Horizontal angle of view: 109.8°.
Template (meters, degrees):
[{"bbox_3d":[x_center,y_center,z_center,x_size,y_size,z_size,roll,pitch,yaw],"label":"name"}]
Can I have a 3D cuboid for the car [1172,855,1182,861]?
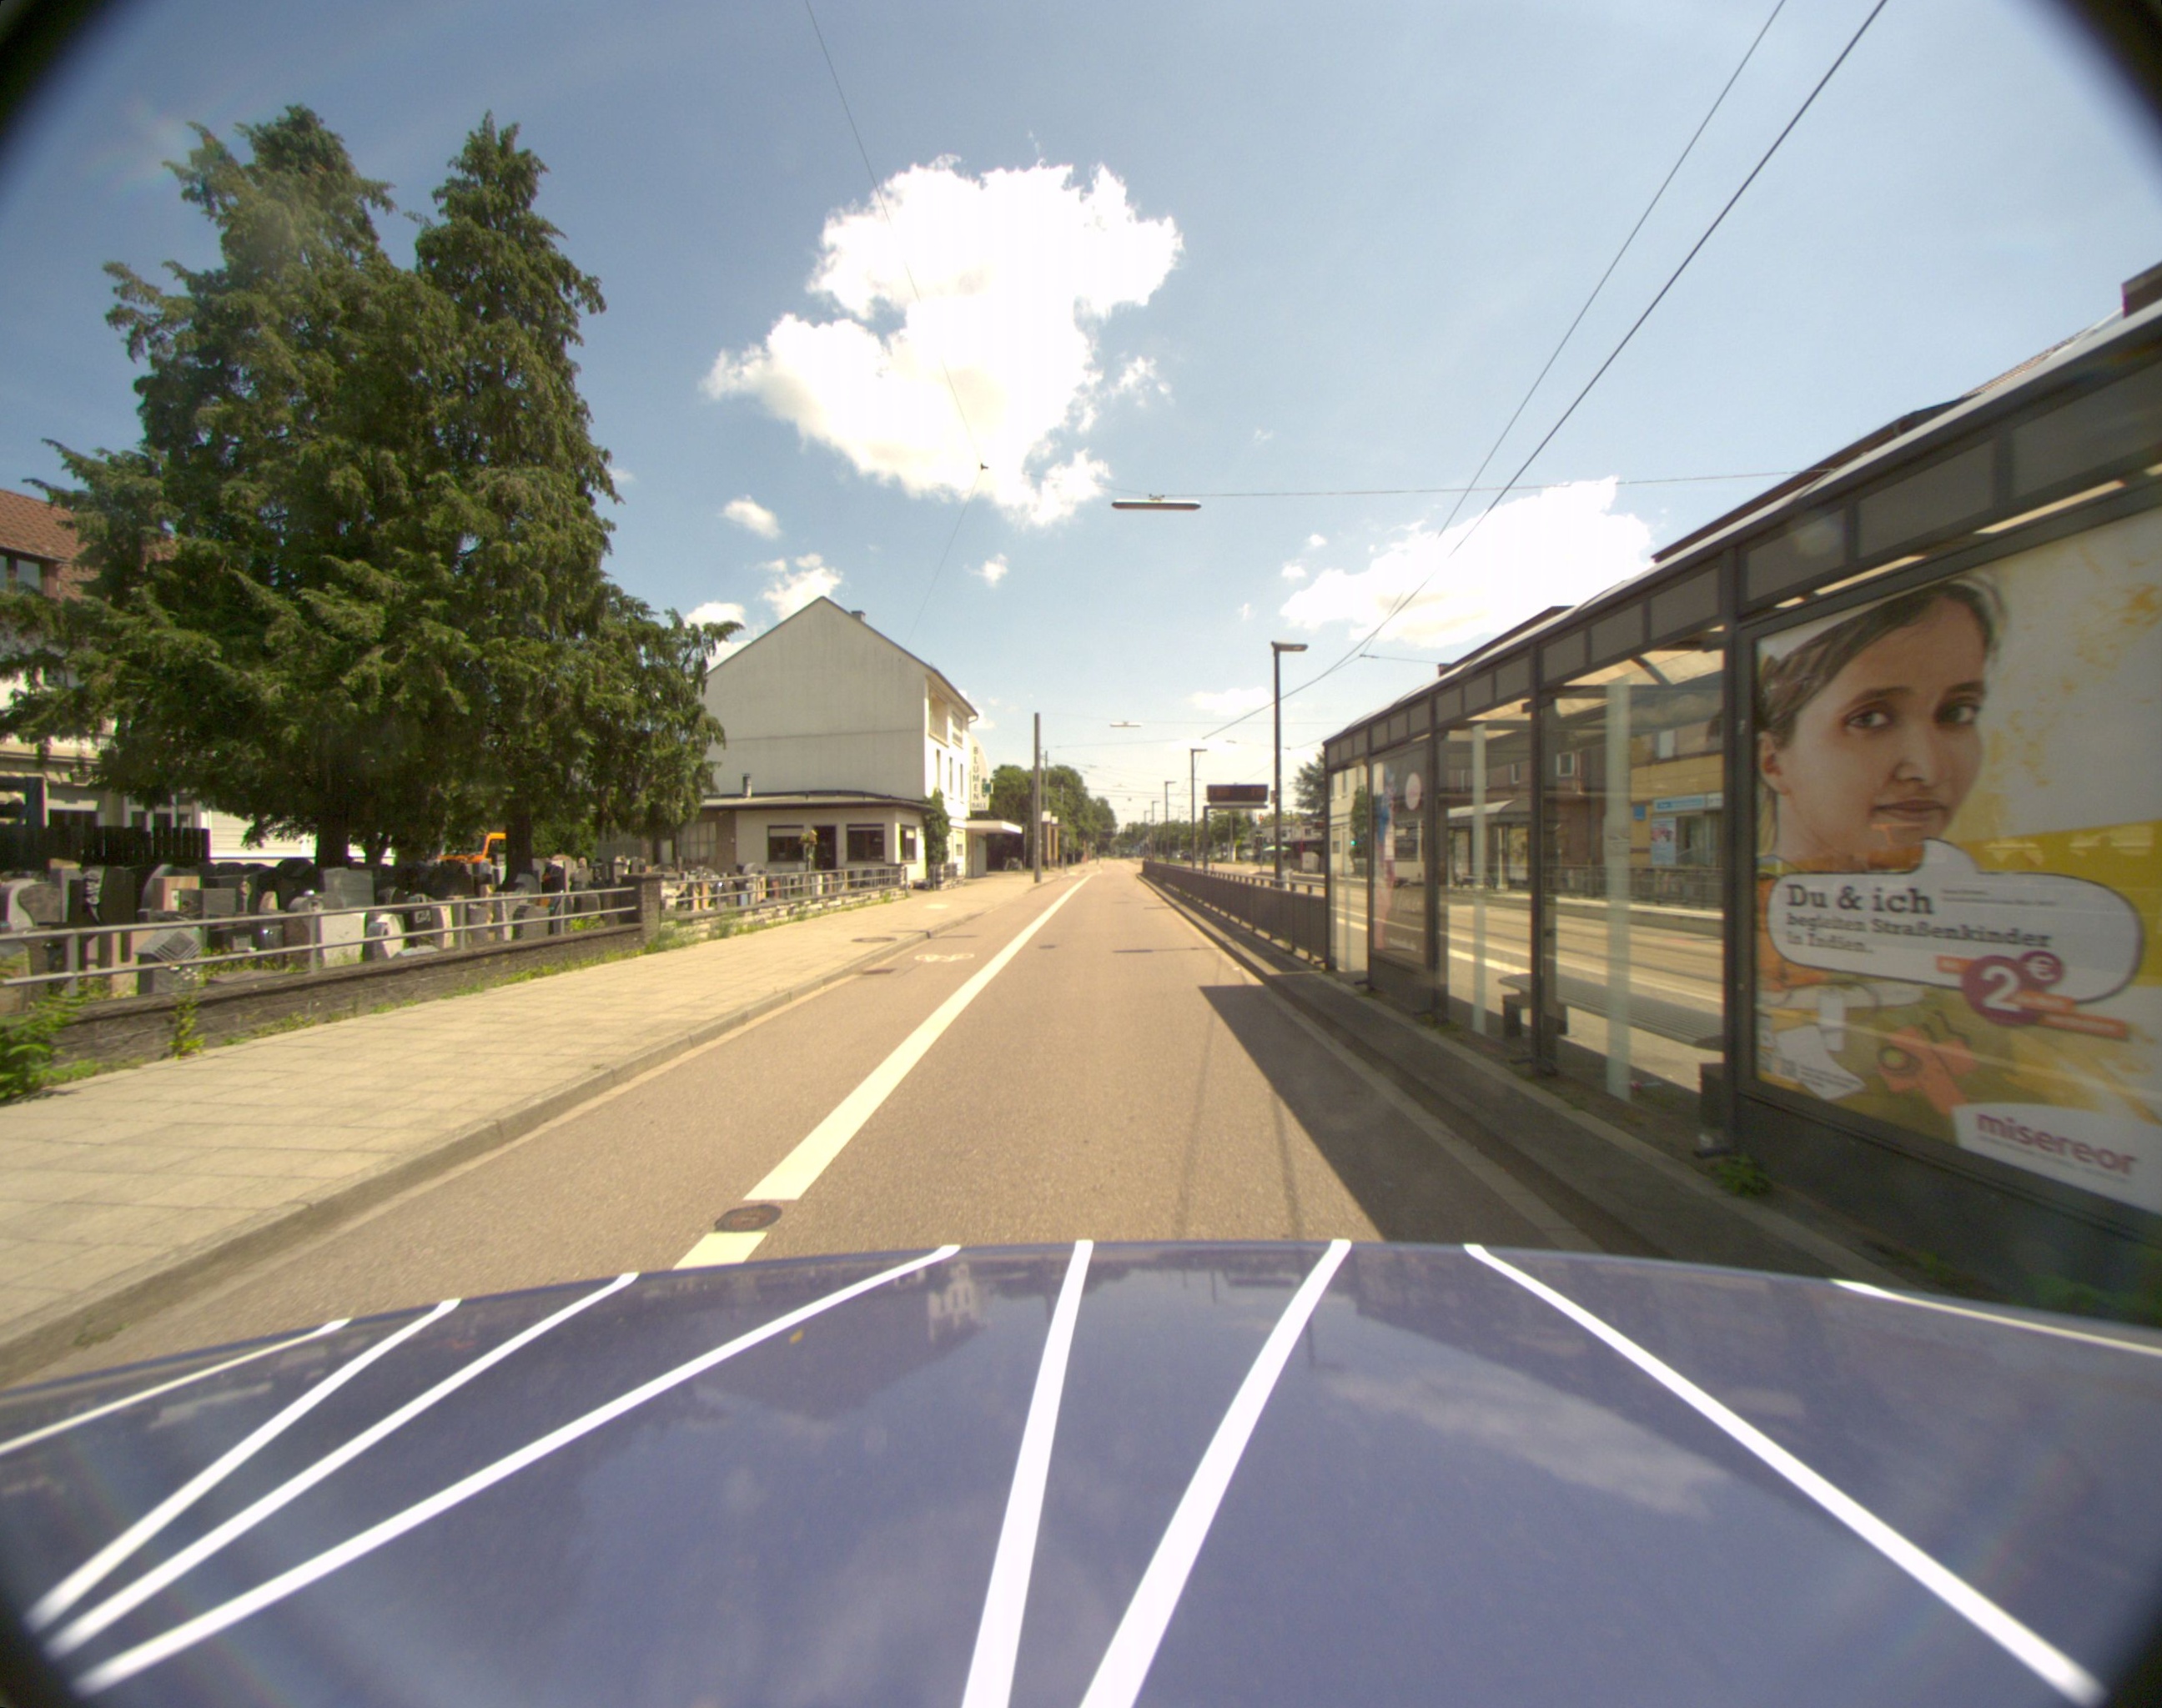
[{"bbox_3d":[23.442,0.933,186.155,1.998,1.463,4.401,0,0,2],"label":"car"}]

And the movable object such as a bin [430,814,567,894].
[{"bbox_3d":[-20.478,-0.018,26.931,1.743,2.604,3.809,1,1,4],"label":"movable object such as a bin"}]

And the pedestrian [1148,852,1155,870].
[{"bbox_3d":[6.033,0.595,65.080,0.578,1.547,0.786,2,1,6],"label":"pedestrian"}]

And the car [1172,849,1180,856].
[{"bbox_3d":[30.639,-0.573,244.430,2.071,2.089,4.489,-2,1,1],"label":"car"}]

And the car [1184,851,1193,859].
[{"bbox_3d":[22.735,0.293,160.457,1.727,1.673,4.281,1,0,6],"label":"car"}]

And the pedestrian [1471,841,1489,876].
[{"bbox_3d":[23.190,0.258,44.175,0.619,2.002,0.810,0,1,0],"label":"pedestrian"}]

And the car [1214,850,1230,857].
[{"bbox_3d":[38.398,-0.156,207.392,3.996,1.726,1.803,1,1,3],"label":"car"}]

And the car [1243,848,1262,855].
[{"bbox_3d":[54.883,-0.788,243.488,5.697,2.467,2.260,0,1,0],"label":"car"}]

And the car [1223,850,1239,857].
[{"bbox_3d":[39.792,-0.099,201.775,3.996,1.726,1.903,0,1,3],"label":"car"}]
